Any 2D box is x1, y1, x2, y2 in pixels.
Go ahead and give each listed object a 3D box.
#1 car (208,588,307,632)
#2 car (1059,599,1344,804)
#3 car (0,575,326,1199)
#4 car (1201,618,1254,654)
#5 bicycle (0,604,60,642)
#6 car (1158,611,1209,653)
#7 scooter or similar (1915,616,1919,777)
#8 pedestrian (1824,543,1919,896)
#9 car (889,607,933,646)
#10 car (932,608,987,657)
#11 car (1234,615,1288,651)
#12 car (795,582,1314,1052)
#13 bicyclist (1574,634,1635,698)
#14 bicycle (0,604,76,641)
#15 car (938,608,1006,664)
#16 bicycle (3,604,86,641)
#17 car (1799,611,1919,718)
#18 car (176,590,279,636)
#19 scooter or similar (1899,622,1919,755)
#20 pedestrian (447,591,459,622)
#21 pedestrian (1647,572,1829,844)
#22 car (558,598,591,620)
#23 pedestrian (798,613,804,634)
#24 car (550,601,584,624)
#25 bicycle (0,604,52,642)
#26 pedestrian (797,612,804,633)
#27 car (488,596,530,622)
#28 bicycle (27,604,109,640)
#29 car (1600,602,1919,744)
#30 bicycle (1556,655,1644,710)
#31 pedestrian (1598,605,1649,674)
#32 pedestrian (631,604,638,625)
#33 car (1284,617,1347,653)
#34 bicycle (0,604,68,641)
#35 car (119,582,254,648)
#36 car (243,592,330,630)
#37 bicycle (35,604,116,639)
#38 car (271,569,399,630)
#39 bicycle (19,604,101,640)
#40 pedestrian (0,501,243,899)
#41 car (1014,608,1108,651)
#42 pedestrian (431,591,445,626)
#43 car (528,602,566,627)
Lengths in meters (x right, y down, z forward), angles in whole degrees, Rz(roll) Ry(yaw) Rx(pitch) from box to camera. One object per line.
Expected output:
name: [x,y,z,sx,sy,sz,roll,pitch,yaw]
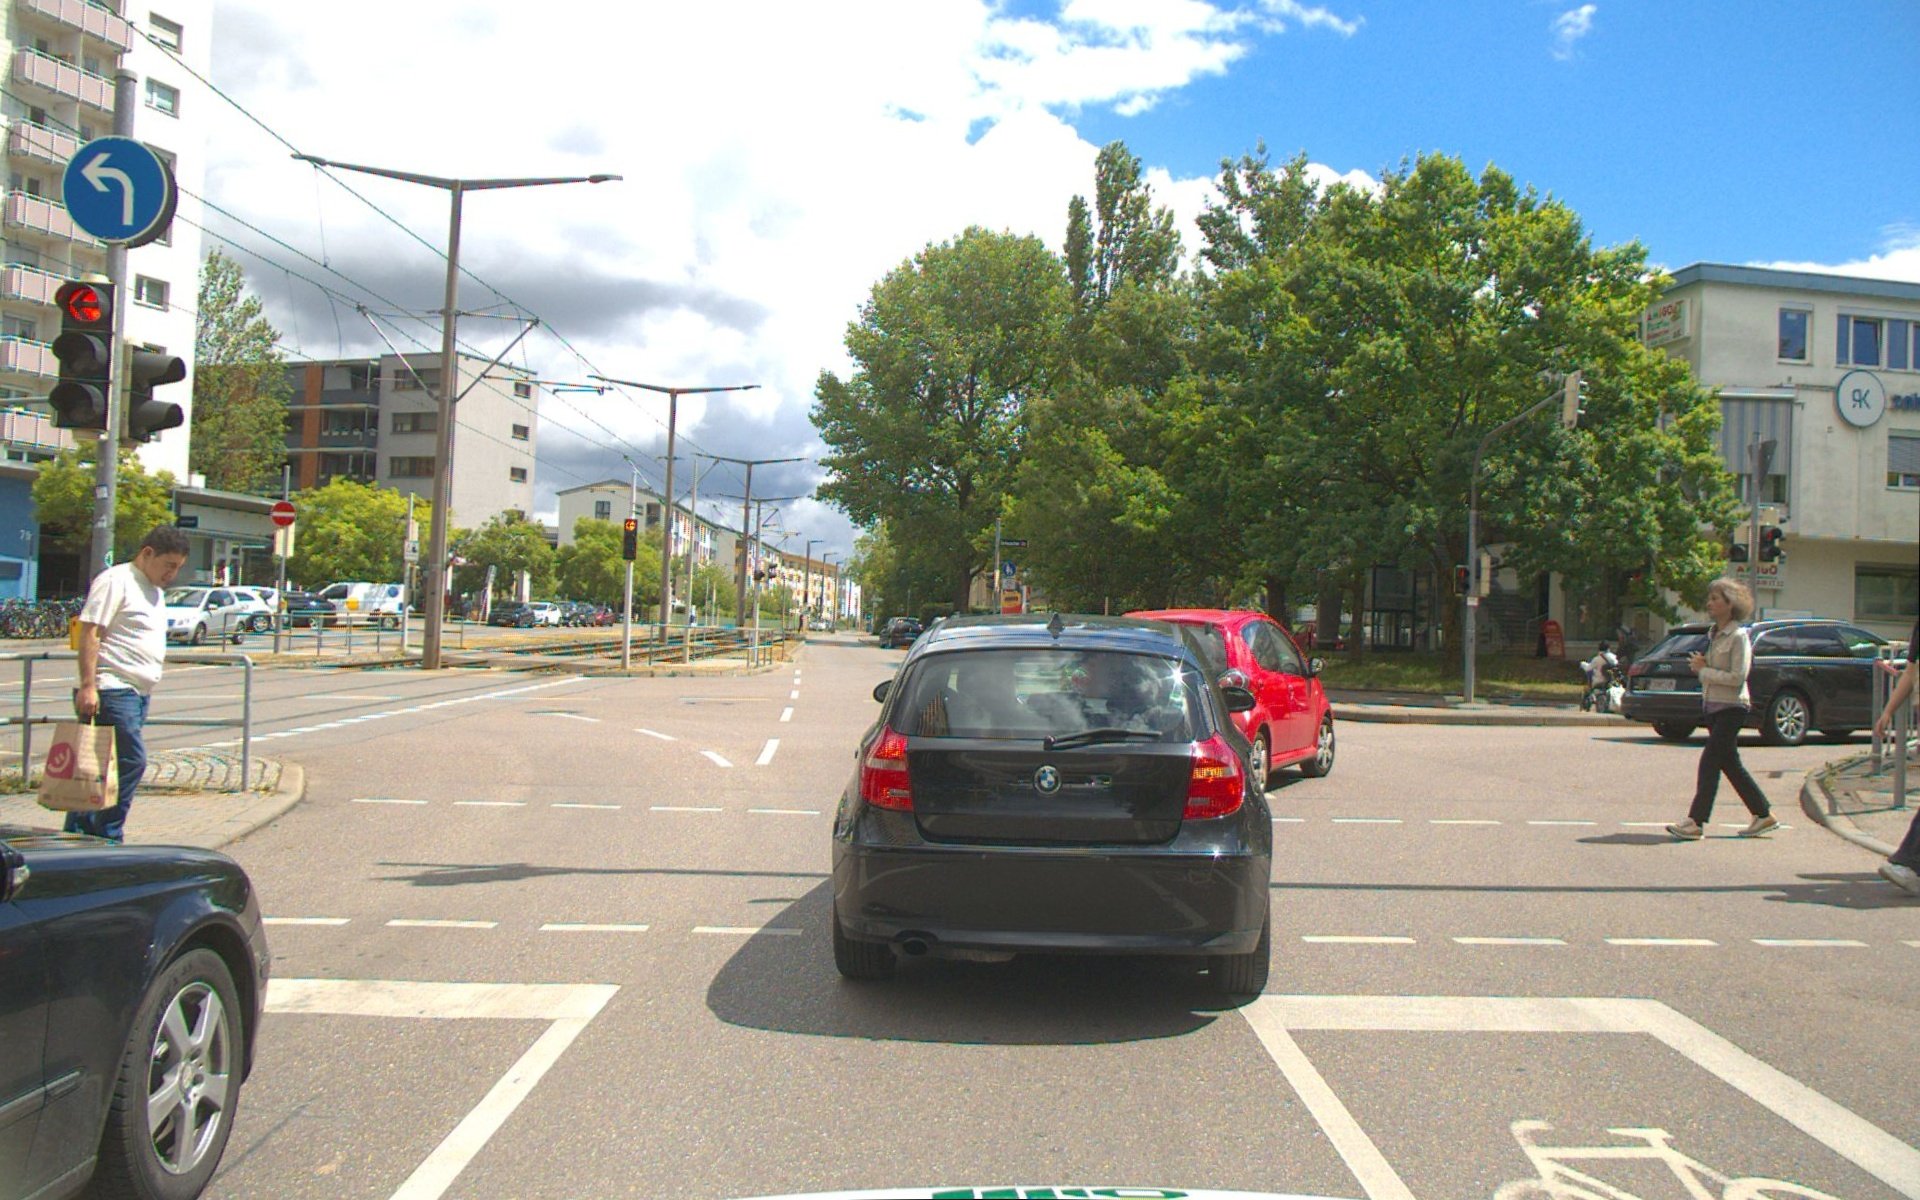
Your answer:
car: [-26.917,0.369,63.300,4.144,1.564,1.949,1,0,43]
car: [2.124,0.757,13.883,1.511,1.466,3.194,1,0,25]
car: [-2.582,0.680,2.249,1.693,1.487,4.543,1,0,-1]
car: [12.569,1.672,77.882,1.598,1.600,4.029,1,0,-4]
bicycle: [-24.655,0.597,43.218,1.909,0.951,0.494,1,-1,-7]
car: [10.408,1.484,77.247,1.598,1.842,4.029,1,0,-4]
scooter or similar: [8.395,0.799,13.129,1.315,1.299,0.462,1,1,6]
pedestrian: [5.267,0.607,8.788,0.917,1.796,0.770,0,0,-12]
car: [-2.255,1.224,76.915,1.953,1.713,3.999,1,0,-1]
car: [-0.036,1.218,61.653,1.953,1.713,3.999,1,-1,-1]
car: [14.381,1.546,79.203,1.598,1.623,3.997,1,0,-4]
car: [0.559,0.715,7.557,1.715,1.513,4.003,1,0,7]
bicyclist: [11.007,1.125,28.270,0.775,1.040,0.636,2,0,-1]
bicycle: [-24.745,0.600,44.198,1.909,0.951,0.494,1,-1,-7]
car: [0.369,1.160,54.212,2.108,1.713,3.999,1,-1,-1]
bicycle: [-24.756,0.602,44.744,1.909,0.951,0.494,1,-1,-7]
car: [17.237,1.116,28.661,4.472,1.747,1.997,1,0,-8]
car: [-26.619,0.462,60.060,4.144,1.597,1.949,1,0,43]
scooter or similar: [9.204,0.823,14.947,1.338,1.176,0.539,3,0,-26]
pedestrian: [-28.295,0.362,92.340,0.537,1.746,0.404,1,0,-11]
pedestrian: [5.083,0.674,10.872,0.932,1.703,0.871,0,0,14]
car: [-25.998,0.625,111.760,1.728,1.419,3.994,1,0,-7]
pedestrian: [-12.685,1.869,131.837,0.328,1.656,0.356,1,0,-18]
car: [-25.458,0.786,107.201,1.728,1.419,3.994,1,0,-7]
bicycle: [-24.598,0.596,42.754,1.909,0.951,0.494,1,-1,-7]
pedestrian: [-12.711,1.767,131.761,0.469,1.665,0.454,1,0,-2]
car: [-25.392,0.508,93.193,1.728,1.419,3.994,1,0,-7]
bicycle: [-24.716,0.609,45.846,1.909,0.951,0.494,1,-1,-7]
car: [10.225,0.848,20.212,4.449,1.581,1.984,1,-1,-25]
bicycle: [10.995,1.400,28.469,0.775,0.833,1.807,2,0,-1]
pedestrian: [16.654,0.988,41.528,0.756,1.672,0.903,2,0,-16]
pedestrian: [-26.407,1.166,134.126,0.444,1.665,0.480,1,0,-3]
car: [17.068,1.659,79.611,1.698,1.623,3.993,1,0,-8]
bicycle: [-24.701,0.598,43.723,1.909,0.951,0.494,1,-1,-7]
car: [-21.265,0.396,45.649,1.897,1.722,3.872,1,0,-1]
car: [-27.101,0.432,66.517,1.777,1.445,4.148,1,0,-45]
bicycle: [-24.767,0.610,46.323,1.909,0.951,0.494,1,-1,-7]
car: [-27.093,-0.039,71.560,2.810,2.522,6.614,1,0,-44]
bicycle: [-24.665,0.607,45.357,1.909,0.951,0.494,1,-1,-7]
pedestrian: [-4.102,0.468,8.088,0.851,1.839,0.741,1,0,-5]
car: [4.638,1.345,75.780,3.933,1.855,1.766,1,0,-23]
pedestrian: [-26.418,0.436,83.739,0.537,1.746,0.667,1,0,-10]
car: [-25.133,0.852,100.645,1.728,1.419,3.994,1,0,-7]
